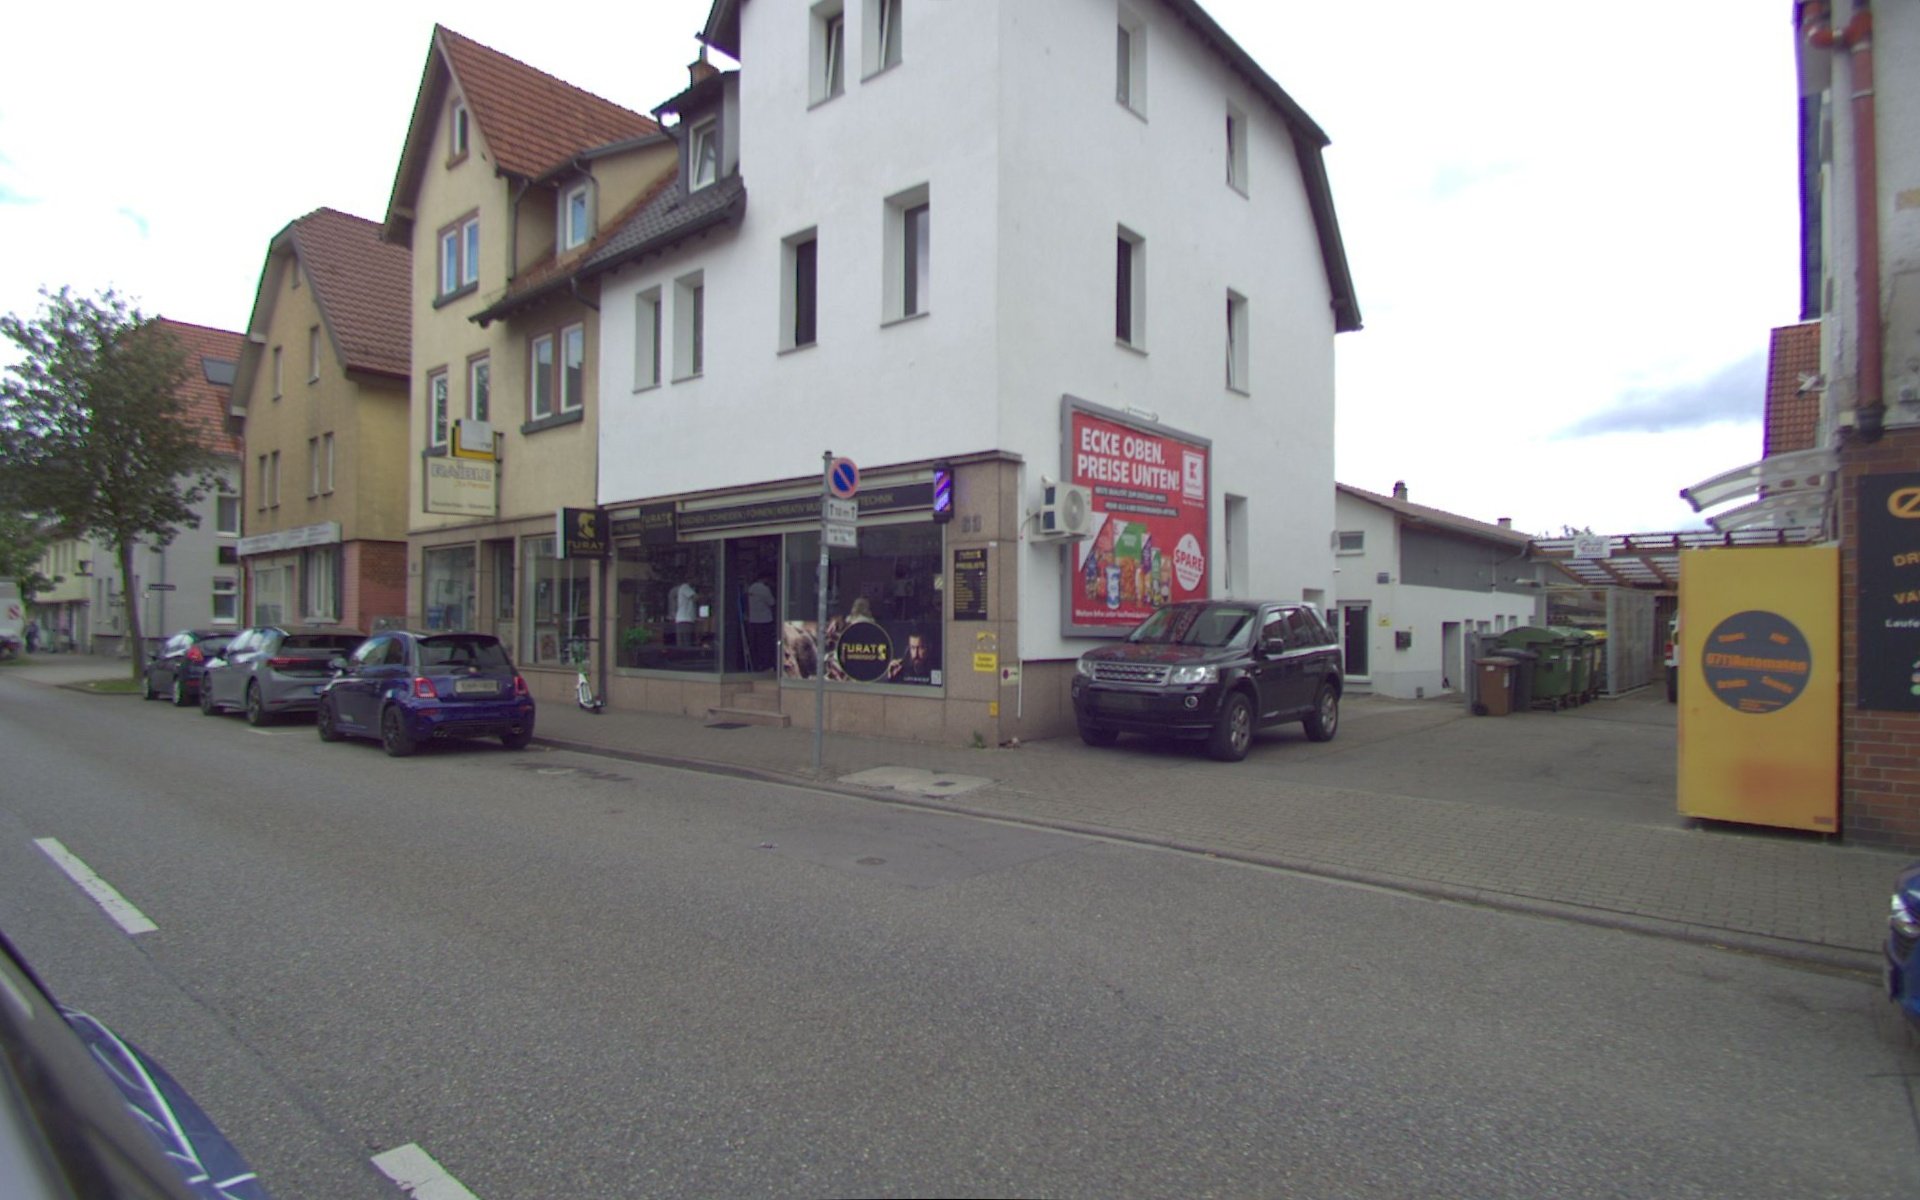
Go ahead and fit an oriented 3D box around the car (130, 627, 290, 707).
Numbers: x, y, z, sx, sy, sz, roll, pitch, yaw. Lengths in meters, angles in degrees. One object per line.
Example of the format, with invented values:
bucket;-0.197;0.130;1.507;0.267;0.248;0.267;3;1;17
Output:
car;-15.029;1.286;20.218;3.928;1.435;1.665;-1;-3;40

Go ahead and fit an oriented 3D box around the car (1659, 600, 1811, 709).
car;15.247;0.965;19.830;1.953;1.904;3.943;-1;-1;43

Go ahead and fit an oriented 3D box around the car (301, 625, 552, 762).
car;-6.949;1.103;13.058;3.590;1.505;1.664;-1;-3;42

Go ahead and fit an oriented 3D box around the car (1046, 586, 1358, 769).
car;2.937;0.746;11.698;1.998;1.715;3.947;-1;-1;39

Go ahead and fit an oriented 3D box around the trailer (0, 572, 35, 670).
trailer;-34.891;0.686;34.205;7.084;3.244;2.493;0;-1;21

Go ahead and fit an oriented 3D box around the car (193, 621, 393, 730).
car;-11.053;1.165;16.666;4.112;1.578;1.692;-1;-3;42
